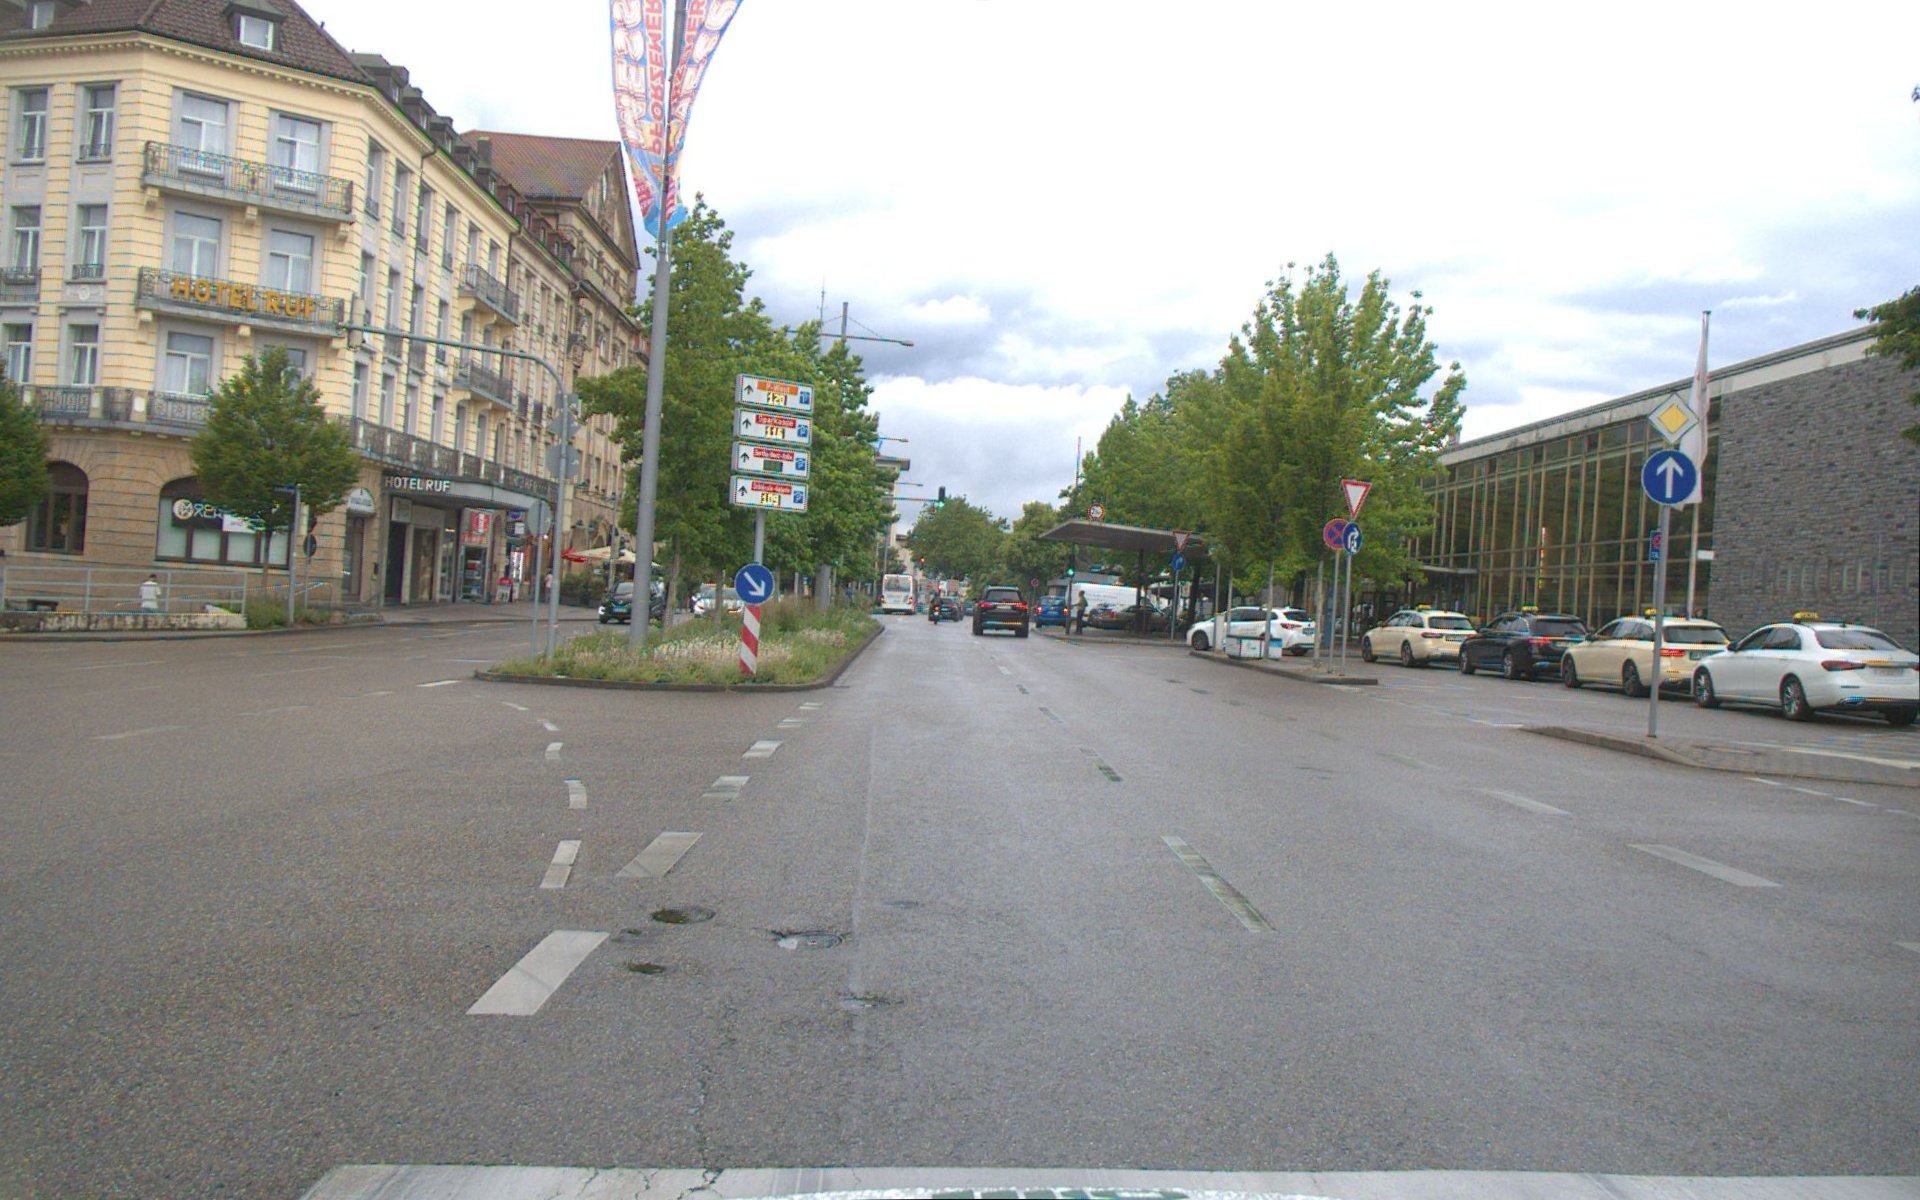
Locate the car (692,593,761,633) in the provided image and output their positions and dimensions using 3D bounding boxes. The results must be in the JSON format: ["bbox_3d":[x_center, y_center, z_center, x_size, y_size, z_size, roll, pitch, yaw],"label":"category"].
[{"bbox_3d":[-8.673,0.449,61.742,1.688,1.406,4.861,1,0,2],"label":"car"}]

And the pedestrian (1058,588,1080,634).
[{"bbox_3d":[4.395,0.441,66.633,0.705,1.822,0.663,2,0,-12],"label":"pedestrian"}]

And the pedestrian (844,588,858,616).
[{"bbox_3d":[-6.927,0.126,105.165,0.742,1.730,0.560,2,0,6],"label":"pedestrian"}]

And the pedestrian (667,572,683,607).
[{"bbox_3d":[-14.437,-0.517,83.900,0.661,1.731,0.633,1,0,-1],"label":"pedestrian"}]

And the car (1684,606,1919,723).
[{"bbox_3d":[13.376,0.943,26.075,1.739,1.617,4.614,1,0,-2],"label":"car"}]

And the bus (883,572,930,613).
[{"bbox_3d":[-4.663,-0.625,142.014,3.685,3.265,15.516,1,0,-3],"label":"bus"}]

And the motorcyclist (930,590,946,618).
[{"bbox_3d":[-1.096,0.177,81.109,0.749,1.355,0.866,2,0,-1],"label":"motorcyclist"}]

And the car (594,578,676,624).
[{"bbox_3d":[-11.767,0.042,60.141,1.734,1.557,4.081,1,0,6],"label":"car"}]

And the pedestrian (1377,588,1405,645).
[{"bbox_3d":[15.761,0.590,60.492,0.754,2.049,0.828,1,0,-3],"label":"pedestrian"}]

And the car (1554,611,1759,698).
[{"bbox_3d":[13.246,0.986,31.791,1.809,1.477,4.664,1,0,-2],"label":"car"}]

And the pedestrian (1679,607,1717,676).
[{"bbox_3d":[18.248,1.014,40.909,0.553,1.675,0.715,1,0,-6],"label":"pedestrian"}]

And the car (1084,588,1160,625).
[{"bbox_3d":[9.482,0.350,96.799,3.929,2.049,1.988,1,0,-21],"label":"car"}]

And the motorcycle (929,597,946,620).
[{"bbox_3d":[-1.102,0.427,81.007,0.750,1.095,2.175,2,0,-1],"label":"motorcycle"}]

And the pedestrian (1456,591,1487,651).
[{"bbox_3d":[17.561,0.716,56.821,0.754,2.049,0.828,1,0,-3],"label":"pedestrian"}]

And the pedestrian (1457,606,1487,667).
[{"bbox_3d":[14.798,1.046,47.841,0.553,1.739,0.715,2,0,-6],"label":"pedestrian"}]

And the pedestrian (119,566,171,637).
[{"bbox_3d":[-22.234,0.038,45.147,0.845,1.911,1.022,2,0,-1],"label":"pedestrian"}]

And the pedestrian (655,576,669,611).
[{"bbox_3d":[-15.119,-0.340,83.882,0.563,1.762,0.609,2,0,-1],"label":"pedestrian"}]

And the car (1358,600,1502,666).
[{"bbox_3d":[12.555,0.846,44.489,1.956,1.628,4.814,1,0,-8],"label":"car"}]

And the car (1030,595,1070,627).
[{"bbox_3d":[4.626,0.539,85.472,1.779,1.557,3.999,1,0,-1],"label":"car"}]

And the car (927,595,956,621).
[{"bbox_3d":[-1.129,0.433,98.277,1.673,1.473,3.999,1,0,-1],"label":"car"}]

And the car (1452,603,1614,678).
[{"bbox_3d":[13.056,0.881,38.012,1.875,1.551,4.740,1,0,-3],"label":"car"}]

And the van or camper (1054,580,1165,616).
[{"bbox_3d":[9.332,-0.094,102.946,6.675,2.049,2.364,1,-1,-27],"label":"van or camper"}]

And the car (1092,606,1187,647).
[{"bbox_3d":[8.947,1.299,82.407,4.273,1.890,1.988,2,0,-21],"label":"car"}]

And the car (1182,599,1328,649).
[{"bbox_3d":[9.089,0.736,51.240,1.764,1.409,4.303,1,0,-41],"label":"car"}]

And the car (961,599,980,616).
[{"bbox_3d":[0.959,0.658,150.873,1.673,1.500,3.999,1,0,-1],"label":"car"}]

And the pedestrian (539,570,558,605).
[{"bbox_3d":[-18.541,-0.568,74.486,0.656,1.537,0.512,1,0,-39],"label":"pedestrian"}]

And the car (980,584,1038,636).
[{"bbox_3d":[1.809,0.340,62.508,1.953,1.837,4.689,1,0,-1],"label":"car"}]

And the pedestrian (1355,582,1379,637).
[{"bbox_3d":[18.186,0.420,73.920,0.825,2.453,0.862,1,0,1],"label":"pedestrian"}]
